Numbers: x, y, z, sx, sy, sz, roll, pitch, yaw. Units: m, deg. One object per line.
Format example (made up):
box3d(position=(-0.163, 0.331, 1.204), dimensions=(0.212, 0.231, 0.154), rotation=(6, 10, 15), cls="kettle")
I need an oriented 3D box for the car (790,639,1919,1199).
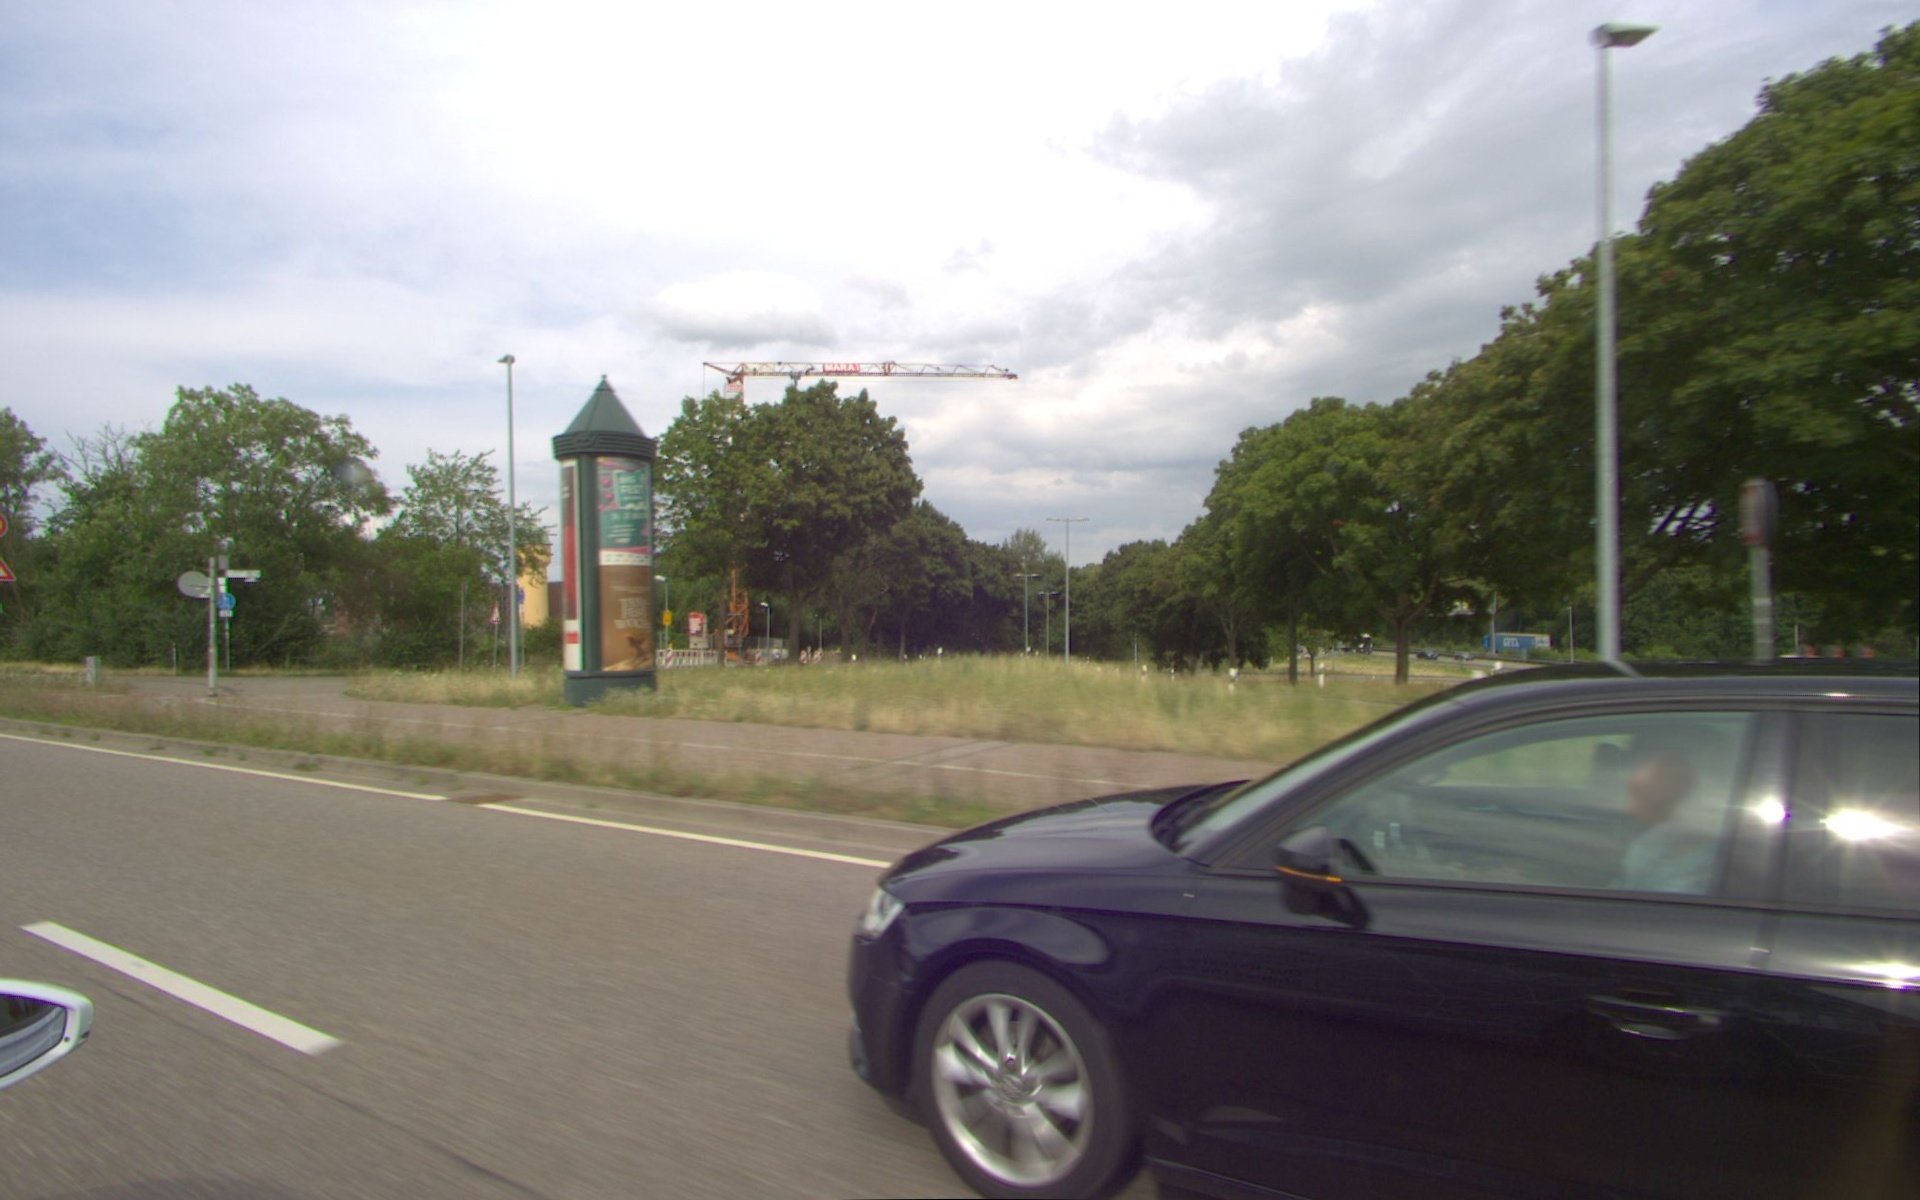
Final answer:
box3d(position=(1.685, 0.823, 2.544), dimensions=(4.055, 1.413, 1.728), rotation=(-1, -1, 31), cls="car")
